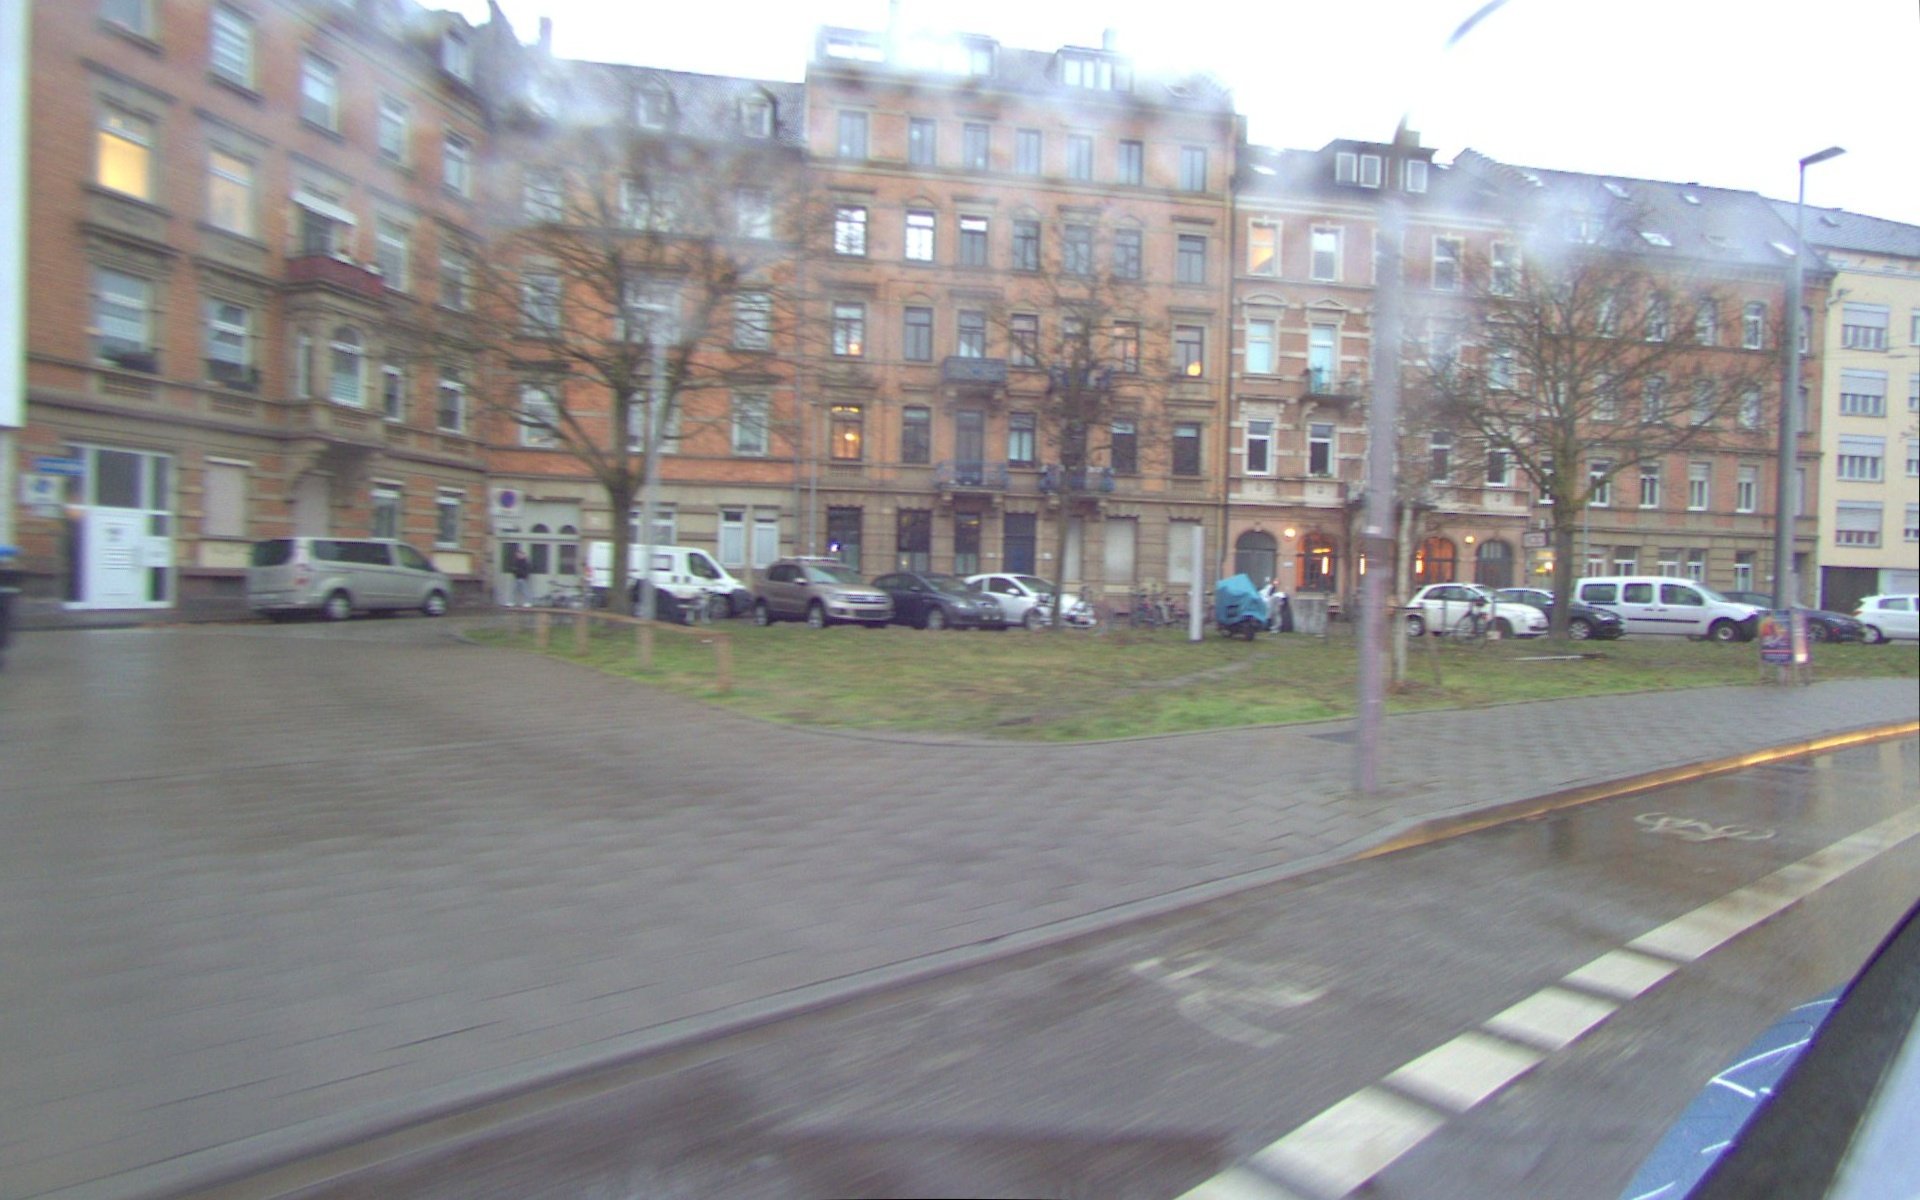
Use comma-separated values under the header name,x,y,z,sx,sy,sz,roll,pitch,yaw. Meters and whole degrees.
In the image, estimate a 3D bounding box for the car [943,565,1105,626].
name,x,y,z,sx,sy,sz,roll,pitch,yaw
car,1.500,-0.143,24.867,1.670,1.353,3.849,0,1,-44

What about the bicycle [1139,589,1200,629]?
name,x,y,z,sx,sy,sz,roll,pitch,yaw
bicycle,5.516,0.232,26.766,0.613,0.978,2.175,3,-1,-16

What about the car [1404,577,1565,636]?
name,x,y,z,sx,sy,sz,roll,pitch,yaw
car,13.844,0.166,26.842,1.584,1.461,3.465,1,-1,-37

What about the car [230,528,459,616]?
name,x,y,z,sx,sy,sz,roll,pitch,yaw
car,-15.038,-0.588,25.094,1.973,1.943,4.720,0,-1,18

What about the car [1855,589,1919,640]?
name,x,y,z,sx,sy,sz,roll,pitch,yaw
car,28.200,0.403,28.826,1.728,1.451,3.774,1,-1,-35

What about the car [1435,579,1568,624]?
name,x,y,z,sx,sy,sz,roll,pitch,yaw
car,19.201,0.076,35.928,3.966,1.520,1.740,1,-1,-12

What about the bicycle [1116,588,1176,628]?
name,x,y,z,sx,sy,sz,roll,pitch,yaw
bicycle,4.866,0.202,26.603,0.613,0.978,2.175,3,-1,-16

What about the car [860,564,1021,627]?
name,x,y,z,sx,sy,sz,roll,pitch,yaw
car,-0.526,-0.109,23.760,3.734,1.372,1.650,1,-1,45

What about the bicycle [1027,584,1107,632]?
name,x,y,z,sx,sy,sz,roll,pitch,yaw
bicycle,2.295,0.162,21.710,1.626,0.948,0.513,2,1,12

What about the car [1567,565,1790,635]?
name,x,y,z,sx,sy,sz,roll,pitch,yaw
car,19.526,-0.065,27.704,1.746,1.611,4.660,0,3,-40

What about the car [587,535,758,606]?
name,x,y,z,sx,sy,sz,roll,pitch,yaw
car,-8.768,-0.908,31.217,4.882,2.038,2.005,1,2,-13

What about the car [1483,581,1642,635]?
name,x,y,z,sx,sy,sz,roll,pitch,yaw
car,16.417,0.177,27.672,1.635,1.368,3.427,1,0,-41

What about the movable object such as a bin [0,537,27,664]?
name,x,y,z,sx,sy,sz,roll,pitch,yaw
movable object such as a bin,-11.941,0.002,11.867,1.021,1.509,1.036,0,-1,3

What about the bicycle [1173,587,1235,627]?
name,x,y,z,sx,sy,sz,roll,pitch,yaw
bicycle,6.466,0.162,26.954,0.613,0.978,2.176,1,2,-16

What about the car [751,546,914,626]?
name,x,y,z,sx,sy,sz,roll,pitch,yaw
car,-3.024,-0.395,23.430,1.909,1.656,3.997,-1,3,-40

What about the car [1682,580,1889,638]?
name,x,y,z,sx,sy,sz,roll,pitch,yaw
car,22.470,0.221,27.686,1.738,1.250,4.063,2,3,-38
